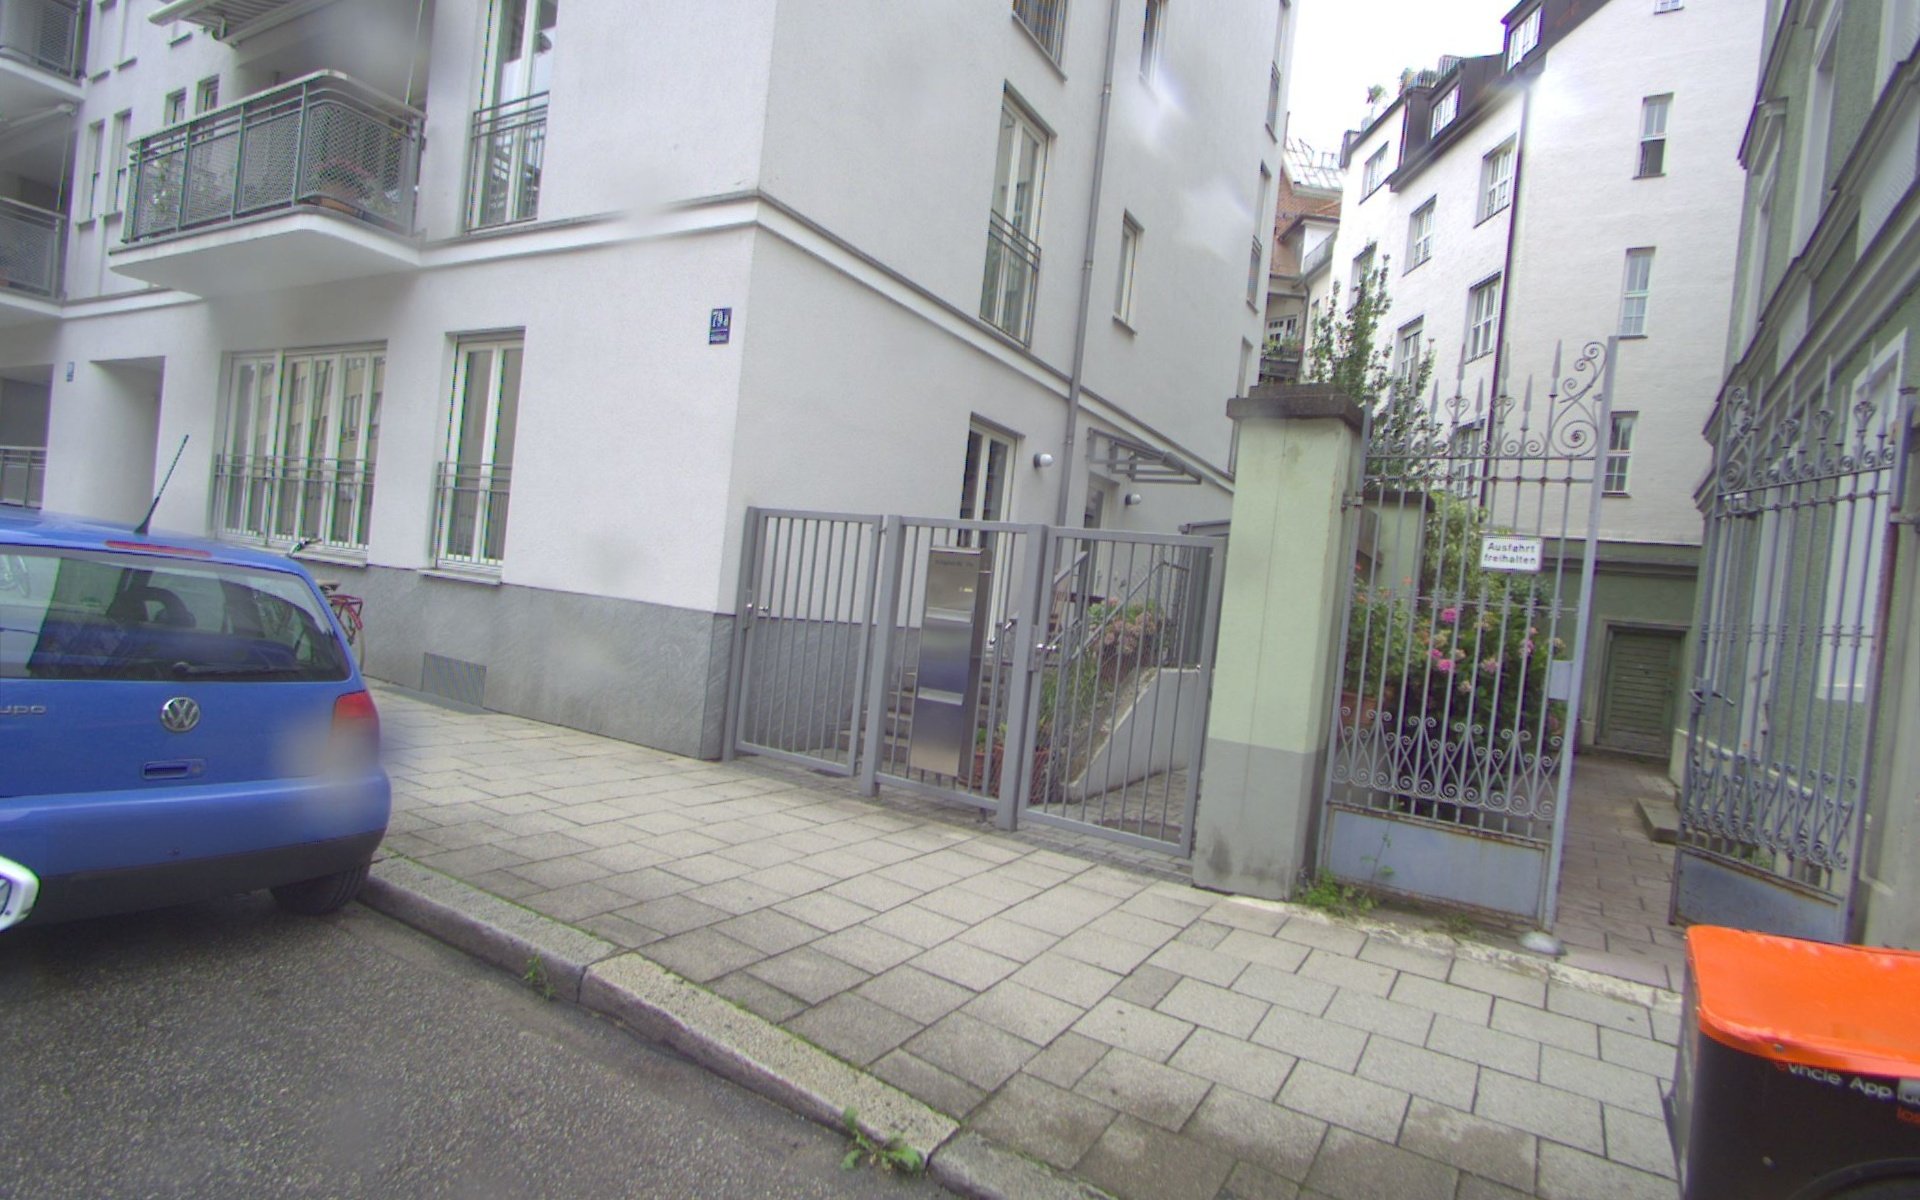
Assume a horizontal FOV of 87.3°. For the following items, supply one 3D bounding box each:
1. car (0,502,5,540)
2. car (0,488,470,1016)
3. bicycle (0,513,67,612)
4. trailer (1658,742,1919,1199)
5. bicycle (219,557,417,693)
[{"bbox_3d":[-7.728,-0.120,6.035,4.135,1.456,1.662,6,-2,30],"label":"car"},{"bbox_3d":[-3.863,0.313,3.988,3.493,1.428,1.623,6,-2,29],"label":"car"},{"bbox_3d":[-12.833,-0.551,13.439,2.091,1.175,0.628,7,1,29],"label":"bicycle"},{"bbox_3d":[2.609,1.078,1.802,2.131,1.200,0.940,7,4,36],"label":"trailer"},{"bbox_3d":[-5.753,0.207,8.992,1.804,1.041,0.678,5,0,30],"label":"bicycle"}]
